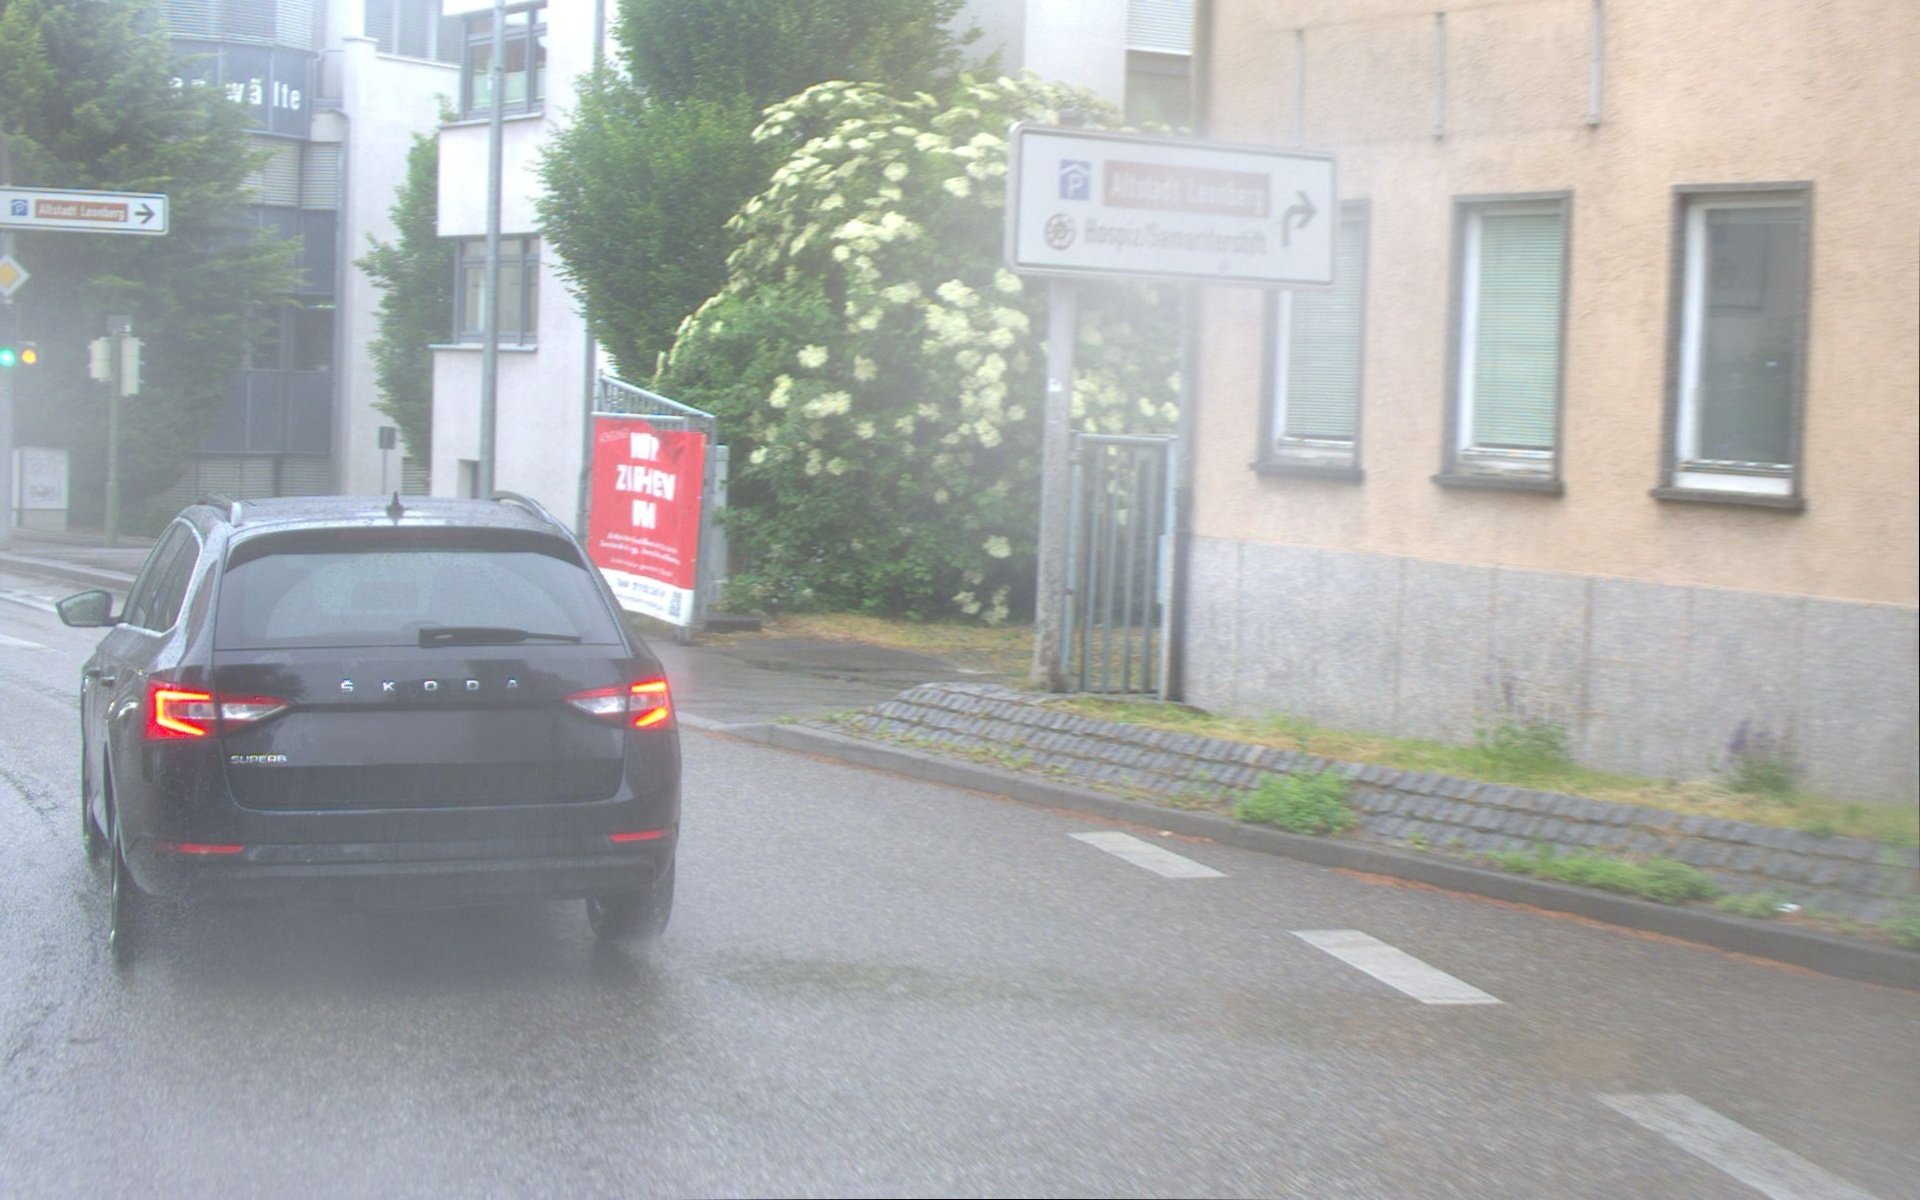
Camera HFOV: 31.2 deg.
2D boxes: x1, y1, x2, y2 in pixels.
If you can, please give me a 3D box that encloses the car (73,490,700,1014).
[{"bbox_3d":[-2.207,0.370,12.249,1.781,1.478,4.247,-1,2,-15],"label":"car"}]
